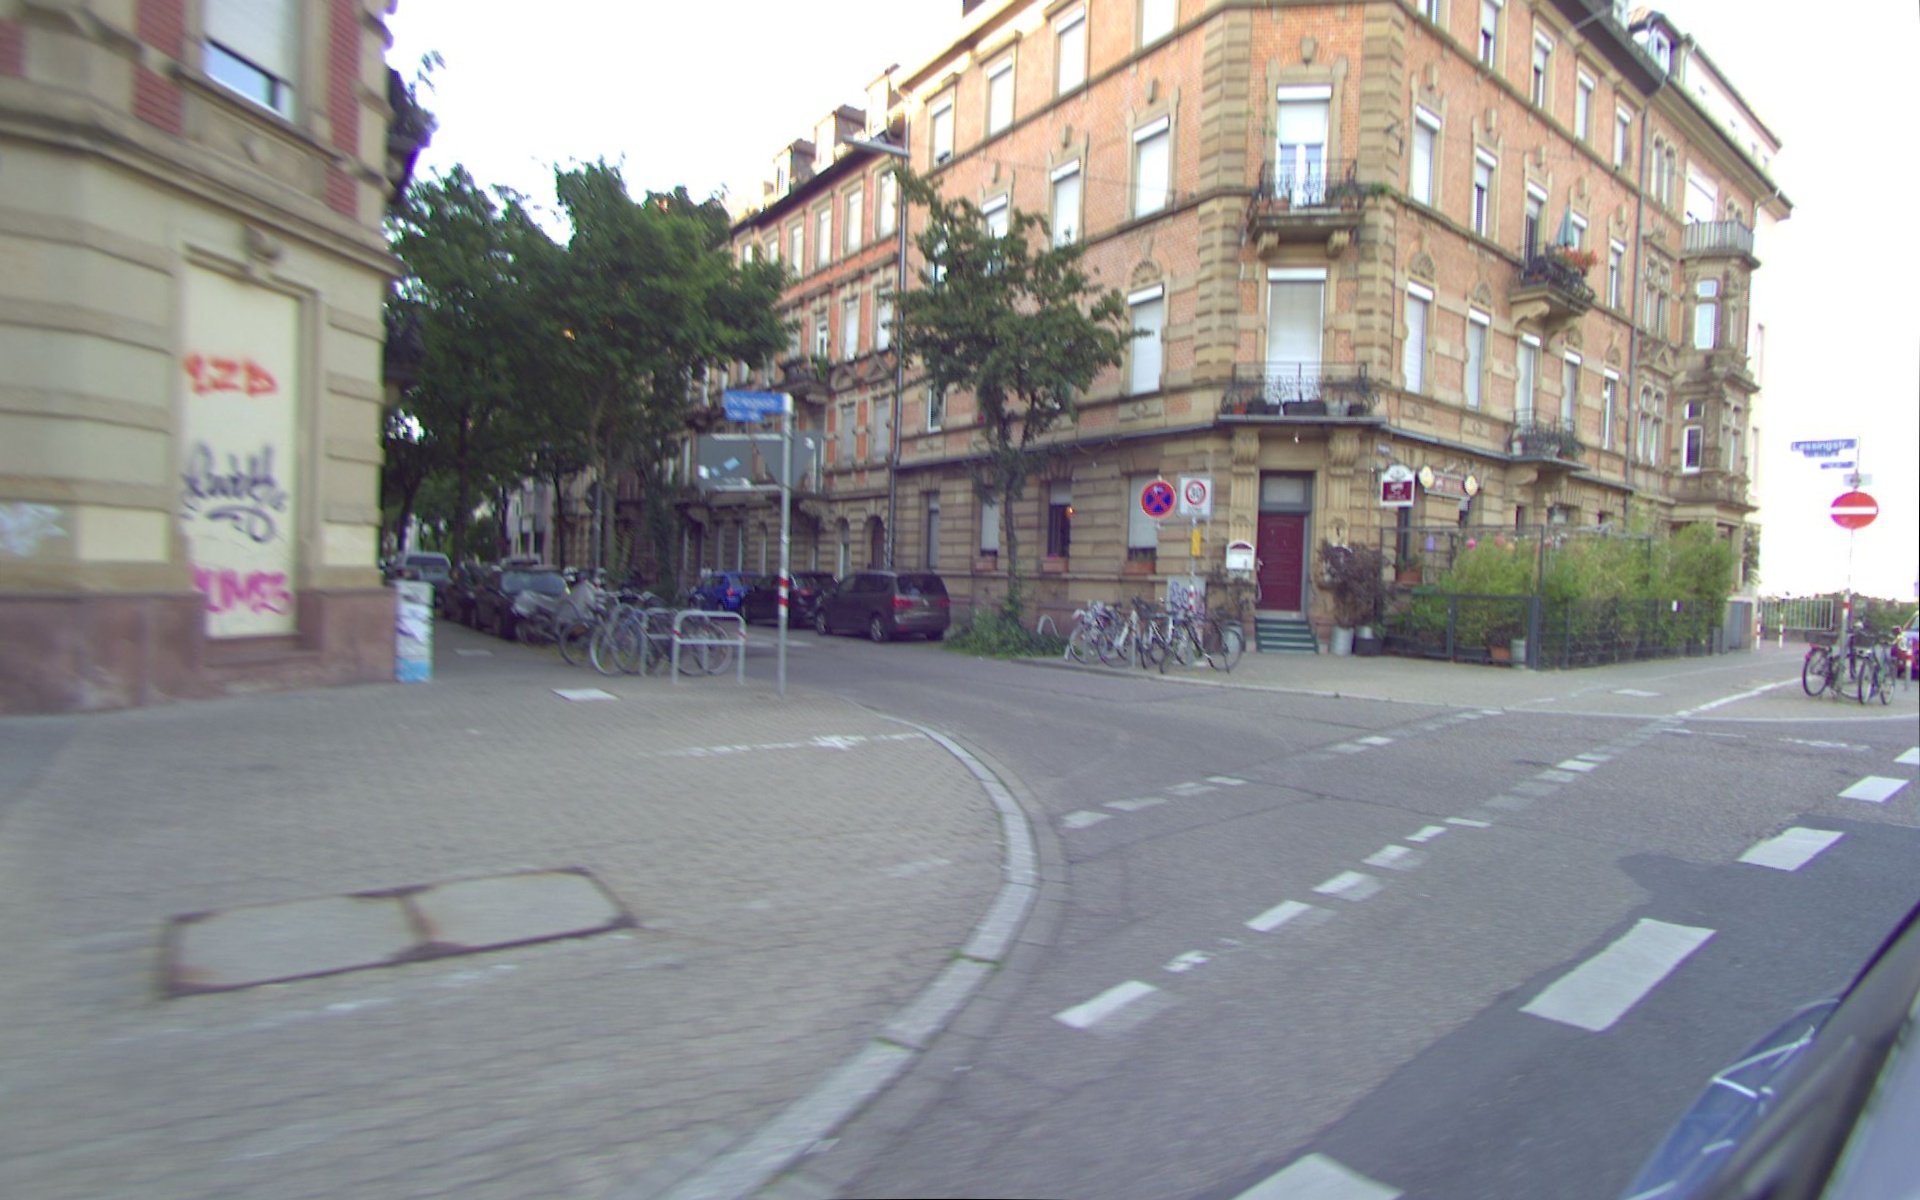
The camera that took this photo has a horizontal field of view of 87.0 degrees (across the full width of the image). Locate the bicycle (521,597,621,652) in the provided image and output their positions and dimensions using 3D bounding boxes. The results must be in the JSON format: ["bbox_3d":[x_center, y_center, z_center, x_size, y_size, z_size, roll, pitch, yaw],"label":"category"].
[{"bbox_3d":[-6.288,0.411,16.404,1.470,0.827,0.295,4,-3,-40],"label":"bicycle"}]

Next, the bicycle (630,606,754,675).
[{"bbox_3d":[-3.428,0.528,12.999,1.467,0.828,0.296,4,-3,-28],"label":"bicycle"}]

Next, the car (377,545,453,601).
[{"bbox_3d":[-19.519,-0.969,36.175,1.944,1.892,4.001,1,1,-35],"label":"car"}]

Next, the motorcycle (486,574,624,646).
[{"bbox_3d":[-7.198,0.192,18.067,2.162,1.137,0.887,3,-3,-21],"label":"motorcycle"}]

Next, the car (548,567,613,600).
[{"bbox_3d":[-17.417,-0.782,46.343,1.813,1.436,4.001,0,1,-35],"label":"car"}]

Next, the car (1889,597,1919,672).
[{"bbox_3d":[20.915,0.754,21.058,3.482,1.482,1.731,0,5,-39],"label":"car"}]

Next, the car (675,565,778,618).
[{"bbox_3d":[-7.479,-0.301,32.149,1.813,1.541,4.001,0,1,-35],"label":"car"}]

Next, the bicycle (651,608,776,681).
[{"bbox_3d":[-2.975,0.552,12.319,1.470,0.827,0.292,4,-3,-40],"label":"bicycle"}]

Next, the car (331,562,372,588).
[{"bbox_3d":[-35.417,-1.480,58.873,1.813,1.436,4.001,0,1,-35],"label":"car"}]

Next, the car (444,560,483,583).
[{"bbox_3d":[-34.379,-1.996,69.995,1.813,1.499,4.001,0,1,-35],"label":"car"}]

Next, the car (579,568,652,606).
[{"bbox_3d":[-14.303,-0.561,41.848,1.813,1.436,4.001,0,1,-35],"label":"car"}]

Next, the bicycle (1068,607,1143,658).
[{"bbox_3d":[2.607,0.566,18.085,1.468,0.827,0.295,-2,1,-31],"label":"bicycle"}]

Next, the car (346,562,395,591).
[{"bbox_3d":[-29.681,-1.217,50.934,1.813,1.375,4.001,0,1,-35],"label":"car"}]

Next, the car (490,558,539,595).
[{"bbox_3d":[-25.462,-1.340,57.744,1.813,1.996,4.001,1,1,-35],"label":"car"}]

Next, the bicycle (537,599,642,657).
[{"bbox_3d":[-5.687,0.445,15.600,1.470,0.827,0.295,4,-3,-40],"label":"bicycle"}]

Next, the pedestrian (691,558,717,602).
[{"bbox_3d":[-9.803,-0.771,38.776,0.783,1.691,0.589,0,1,-37],"label":"pedestrian"}]

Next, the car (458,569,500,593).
[{"bbox_3d":[-31.292,-1.266,65.804,1.813,1.499,4.001,0,1,-35],"label":"car"}]

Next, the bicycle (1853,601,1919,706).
[{"bbox_3d":[13.481,0.720,14.543,2.225,1.314,0.567,-2,6,-41],"label":"bicycle"}]

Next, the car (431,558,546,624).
[{"bbox_3d":[-11.706,-0.268,25.000,1.878,1.475,4.000,0,2,-36],"label":"car"}]

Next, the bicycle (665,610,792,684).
[{"bbox_3d":[-2.730,0.573,12.047,1.470,0.827,0.292,4,-3,-40],"label":"bicycle"}]

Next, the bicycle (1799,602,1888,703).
[{"bbox_3d":[13.105,0.736,14.991,2.225,1.290,0.567,-2,6,-41],"label":"bicycle"}]

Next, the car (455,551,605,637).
[{"bbox_3d":[-9.043,-0.164,21.099,1.962,1.527,4.000,4,-1,-36],"label":"car"}]

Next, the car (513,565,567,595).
[{"bbox_3d":[-22.274,-1.094,53.557,1.813,1.499,4.001,0,1,-35],"label":"car"}]

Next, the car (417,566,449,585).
[{"bbox_3d":[-43.199,-2.035,82.878,1.813,1.499,4.001,0,1,-35],"label":"car"}]

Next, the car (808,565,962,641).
[{"bbox_3d":[-1.844,0.006,23.812,1.813,1.626,4.001,0,1,-35],"label":"car"}]

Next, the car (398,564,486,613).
[{"bbox_3d":[-16.321,-0.386,31.786,1.878,1.410,4.000,0,2,-36],"label":"car"}]

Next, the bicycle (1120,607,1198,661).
[{"bbox_3d":[3.395,0.563,17.219,1.468,0.827,0.295,-2,1,-31],"label":"bicycle"}]

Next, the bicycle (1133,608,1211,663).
[{"bbox_3d":[3.563,0.583,16.949,1.468,0.827,0.295,-2,1,-31],"label":"bicycle"}]

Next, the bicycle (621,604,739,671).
[{"bbox_3d":[-3.689,0.512,13.405,1.470,0.827,0.295,4,-3,-40],"label":"bicycle"}]

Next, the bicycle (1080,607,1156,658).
[{"bbox_3d":[2.789,0.558,17.817,1.468,0.827,0.295,-2,1,-31],"label":"bicycle"}]

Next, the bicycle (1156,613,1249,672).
[{"bbox_3d":[3.838,0.649,15.947,1.701,0.827,0.295,-2,1,-31],"label":"bicycle"}]

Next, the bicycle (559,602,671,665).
[{"bbox_3d":[-4.891,0.490,14.404,1.470,0.827,0.295,4,-3,-40],"label":"bicycle"}]

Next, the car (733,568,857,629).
[{"bbox_3d":[-4.610,-0.087,27.844,1.813,1.541,4.001,0,1,-35],"label":"car"}]

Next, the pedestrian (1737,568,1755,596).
[{"bbox_3d":[24.822,-0.577,31.974,0.313,0.881,0.310,0,-1,-7],"label":"pedestrian"}]
